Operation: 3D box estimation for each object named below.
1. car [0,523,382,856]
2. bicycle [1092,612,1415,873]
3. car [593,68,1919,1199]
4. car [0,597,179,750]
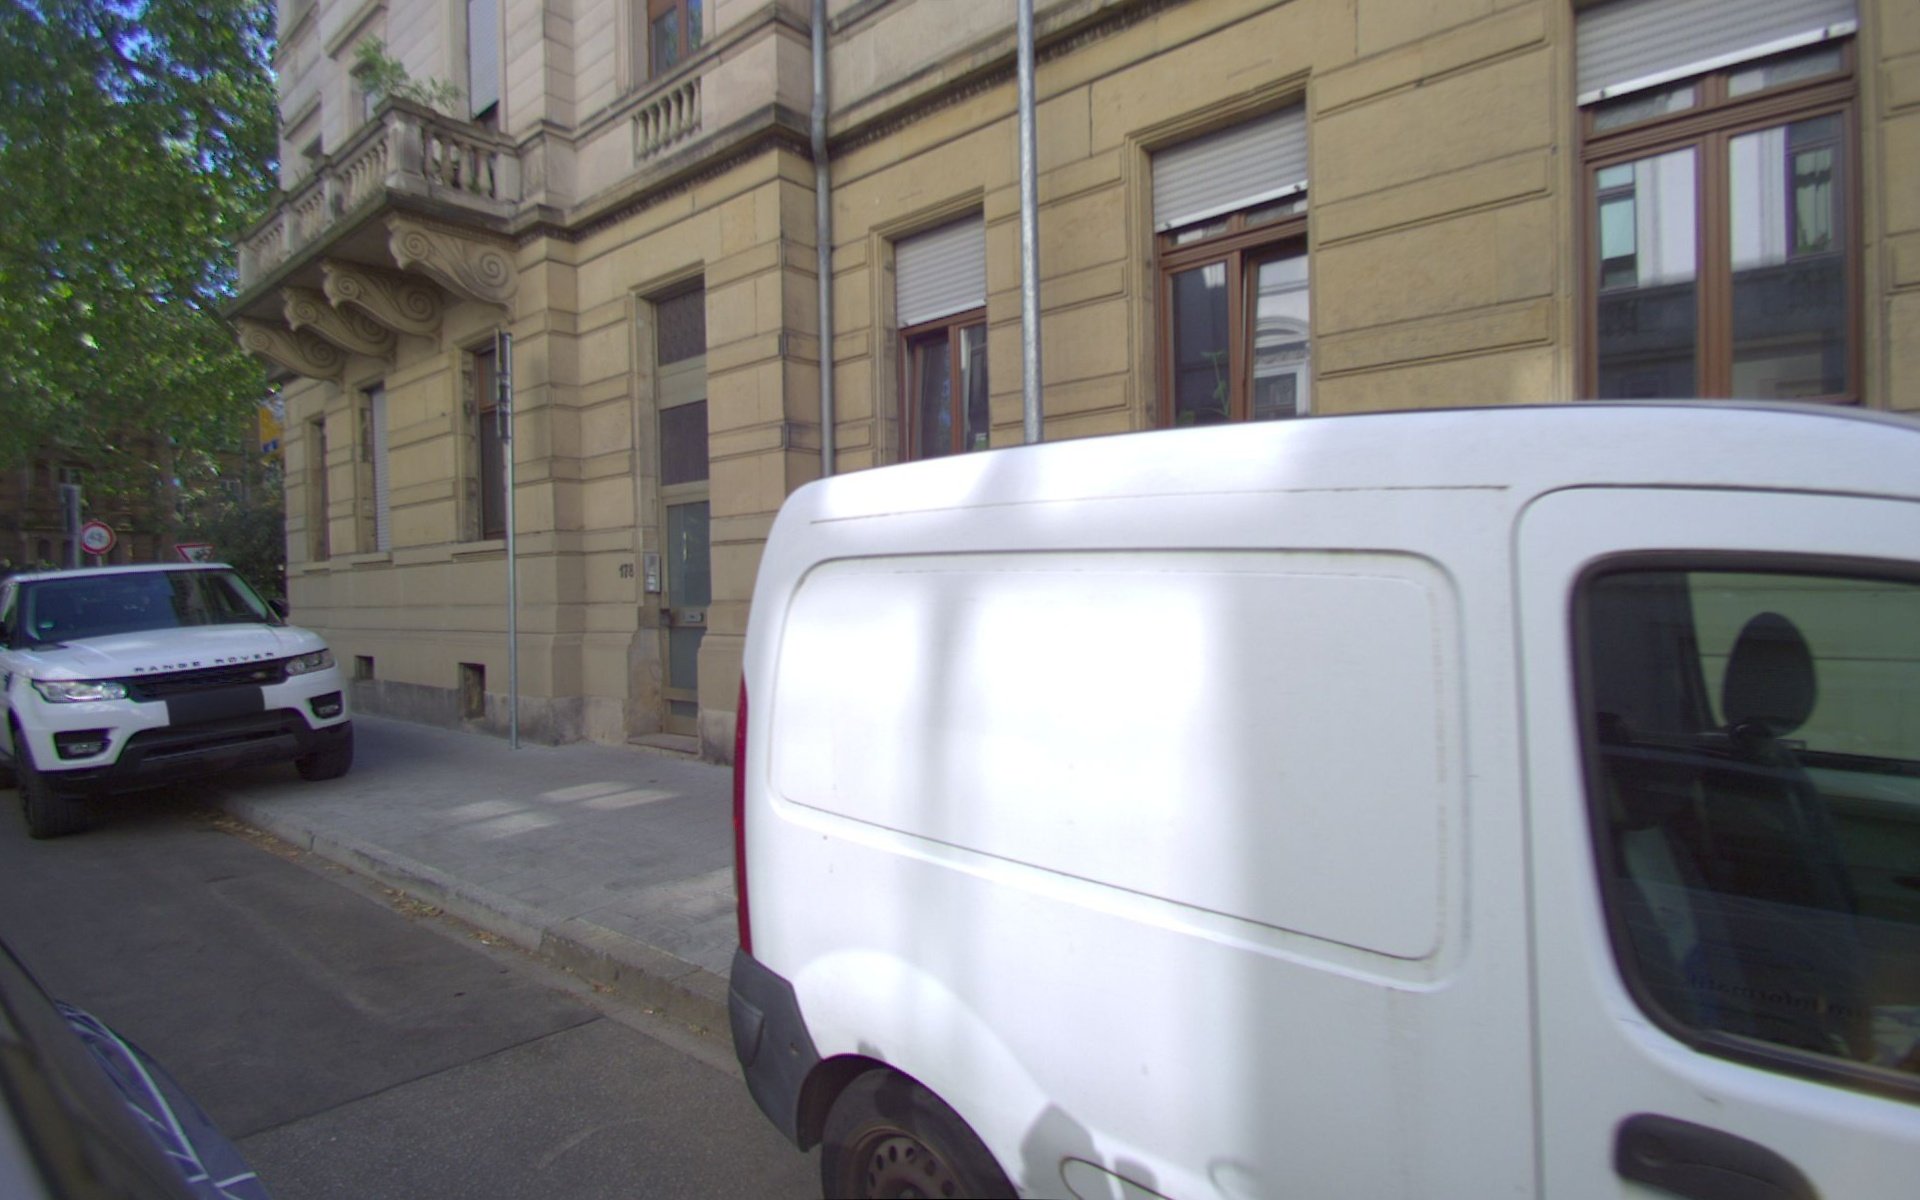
[{"bbox_3d":[-6.750,0.543,8.413,4.541,2.029,2.001,-1,1,41],"label":"car"},{"bbox_3d":[1.432,0.638,5.109,1.507,1.134,0.428,-1,1,40],"label":"bicycle"},{"bbox_3d":[1.370,0.447,1.515,4.087,1.890,1.727,-1,4,41],"label":"car"},{"bbox_3d":[-11.486,0.791,12.655,3.938,1.572,1.849,0,3,39],"label":"car"}]
